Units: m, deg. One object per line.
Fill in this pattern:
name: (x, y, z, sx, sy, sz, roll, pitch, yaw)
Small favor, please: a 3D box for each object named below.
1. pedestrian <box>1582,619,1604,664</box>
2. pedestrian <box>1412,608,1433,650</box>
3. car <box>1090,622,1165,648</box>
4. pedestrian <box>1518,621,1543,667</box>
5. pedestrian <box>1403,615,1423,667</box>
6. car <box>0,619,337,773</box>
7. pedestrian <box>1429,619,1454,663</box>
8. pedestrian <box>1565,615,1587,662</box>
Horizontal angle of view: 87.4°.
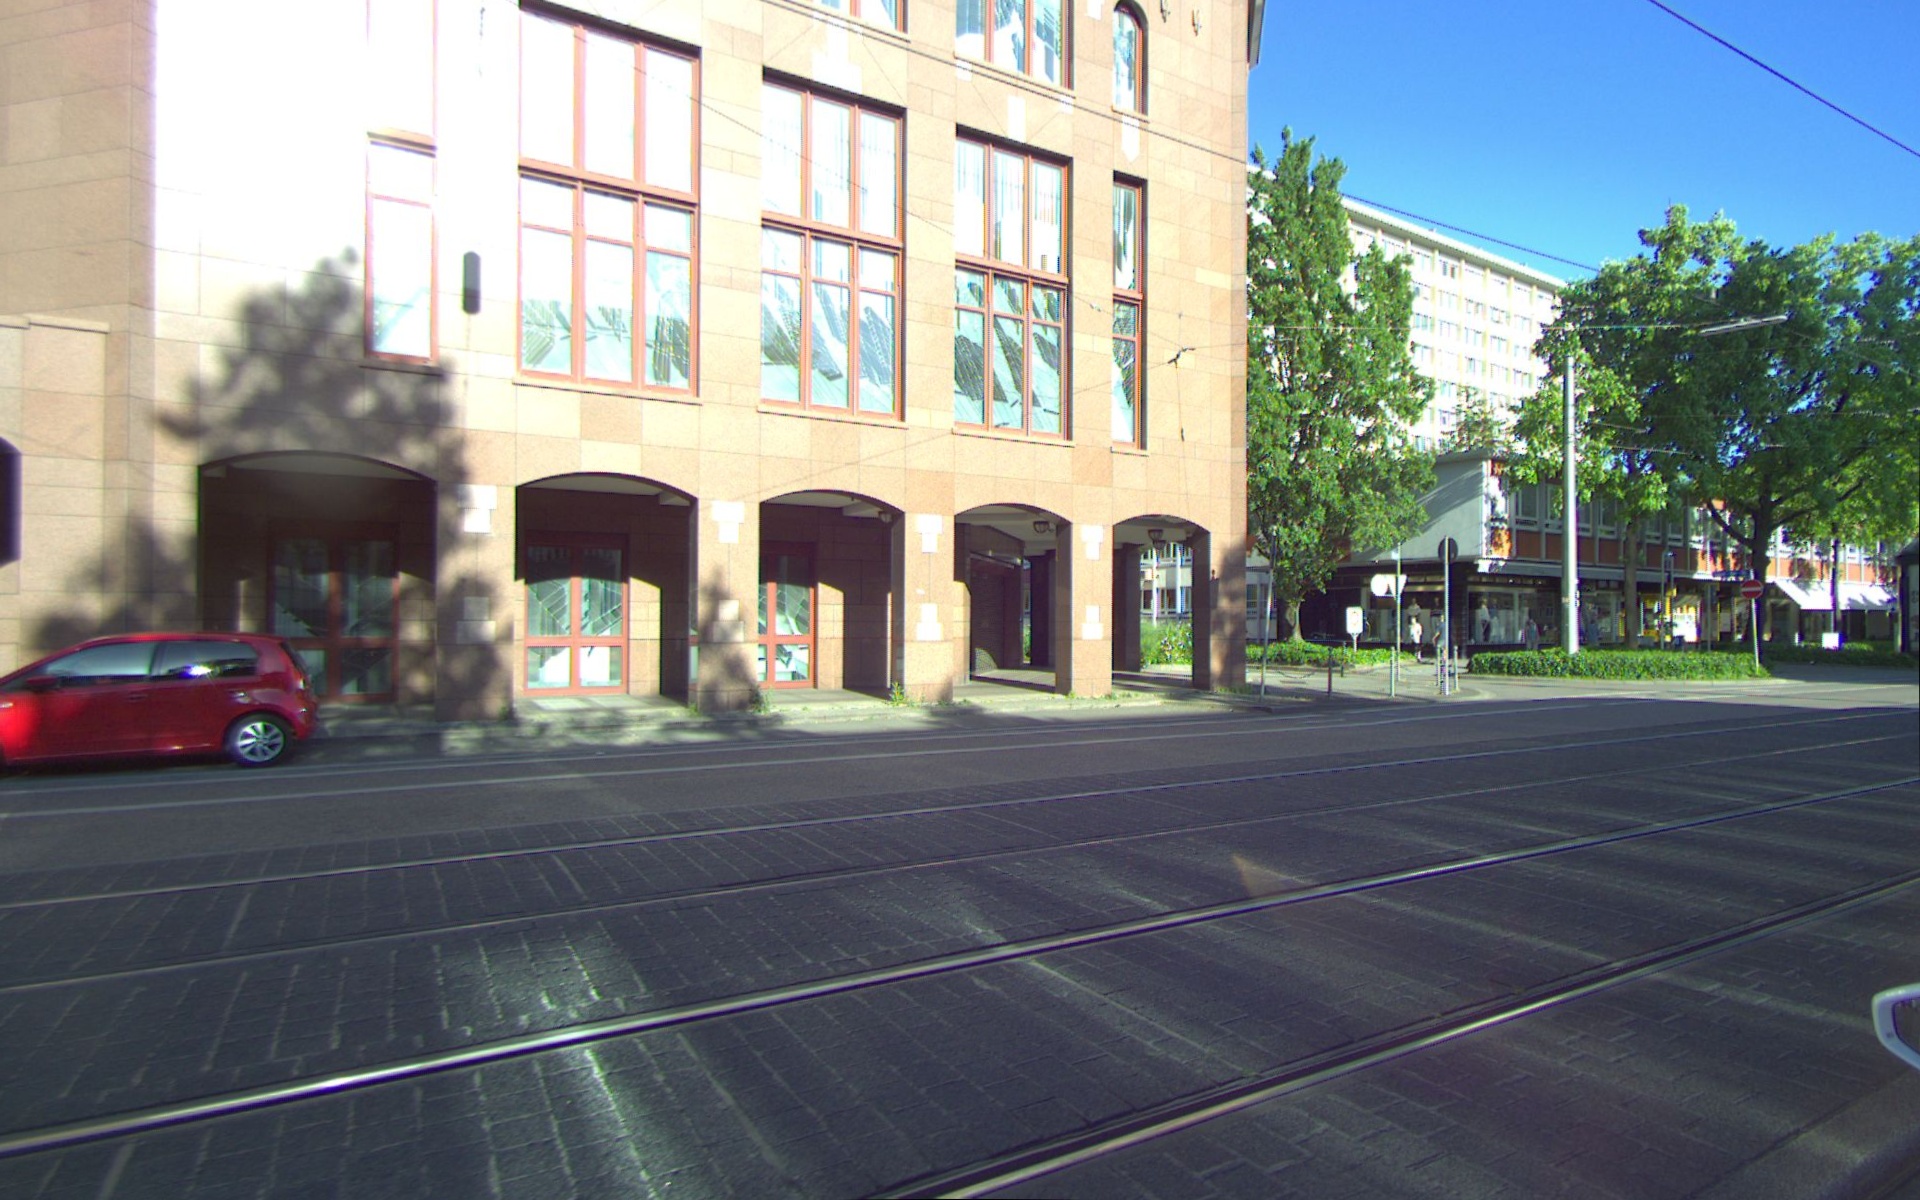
pedestrian: (26.211, 1.697, 41.579, 0.583, 1.826, 0.541, 1, 1, -39)
pedestrian: (20.109, 1.250, 43.713, 0.532, 1.808, 0.588, 1, 1, -30)
car: (11.398, 2.346, 68.123, 5.155, 1.575, 1.979, 1, 1, -36)
pedestrian: (23.416, 1.800, 41.234, 0.666, 1.872, 0.623, 1, 1, -33)
pedestrian: (18.725, 1.703, 41.536, 0.591, 2.094, 0.669, 2, 1, 15)
car: (-8.979, 0.972, 11.001, 3.578, 1.441, 1.651, 1, 1, -31)
pedestrian: (18.865, 1.592, 39.381, 0.697, 1.716, 0.523, 0, -1, -6)
pedestrian: (25.765, 1.599, 42.013, 0.533, 1.897, 0.586, 1, 1, -39)
